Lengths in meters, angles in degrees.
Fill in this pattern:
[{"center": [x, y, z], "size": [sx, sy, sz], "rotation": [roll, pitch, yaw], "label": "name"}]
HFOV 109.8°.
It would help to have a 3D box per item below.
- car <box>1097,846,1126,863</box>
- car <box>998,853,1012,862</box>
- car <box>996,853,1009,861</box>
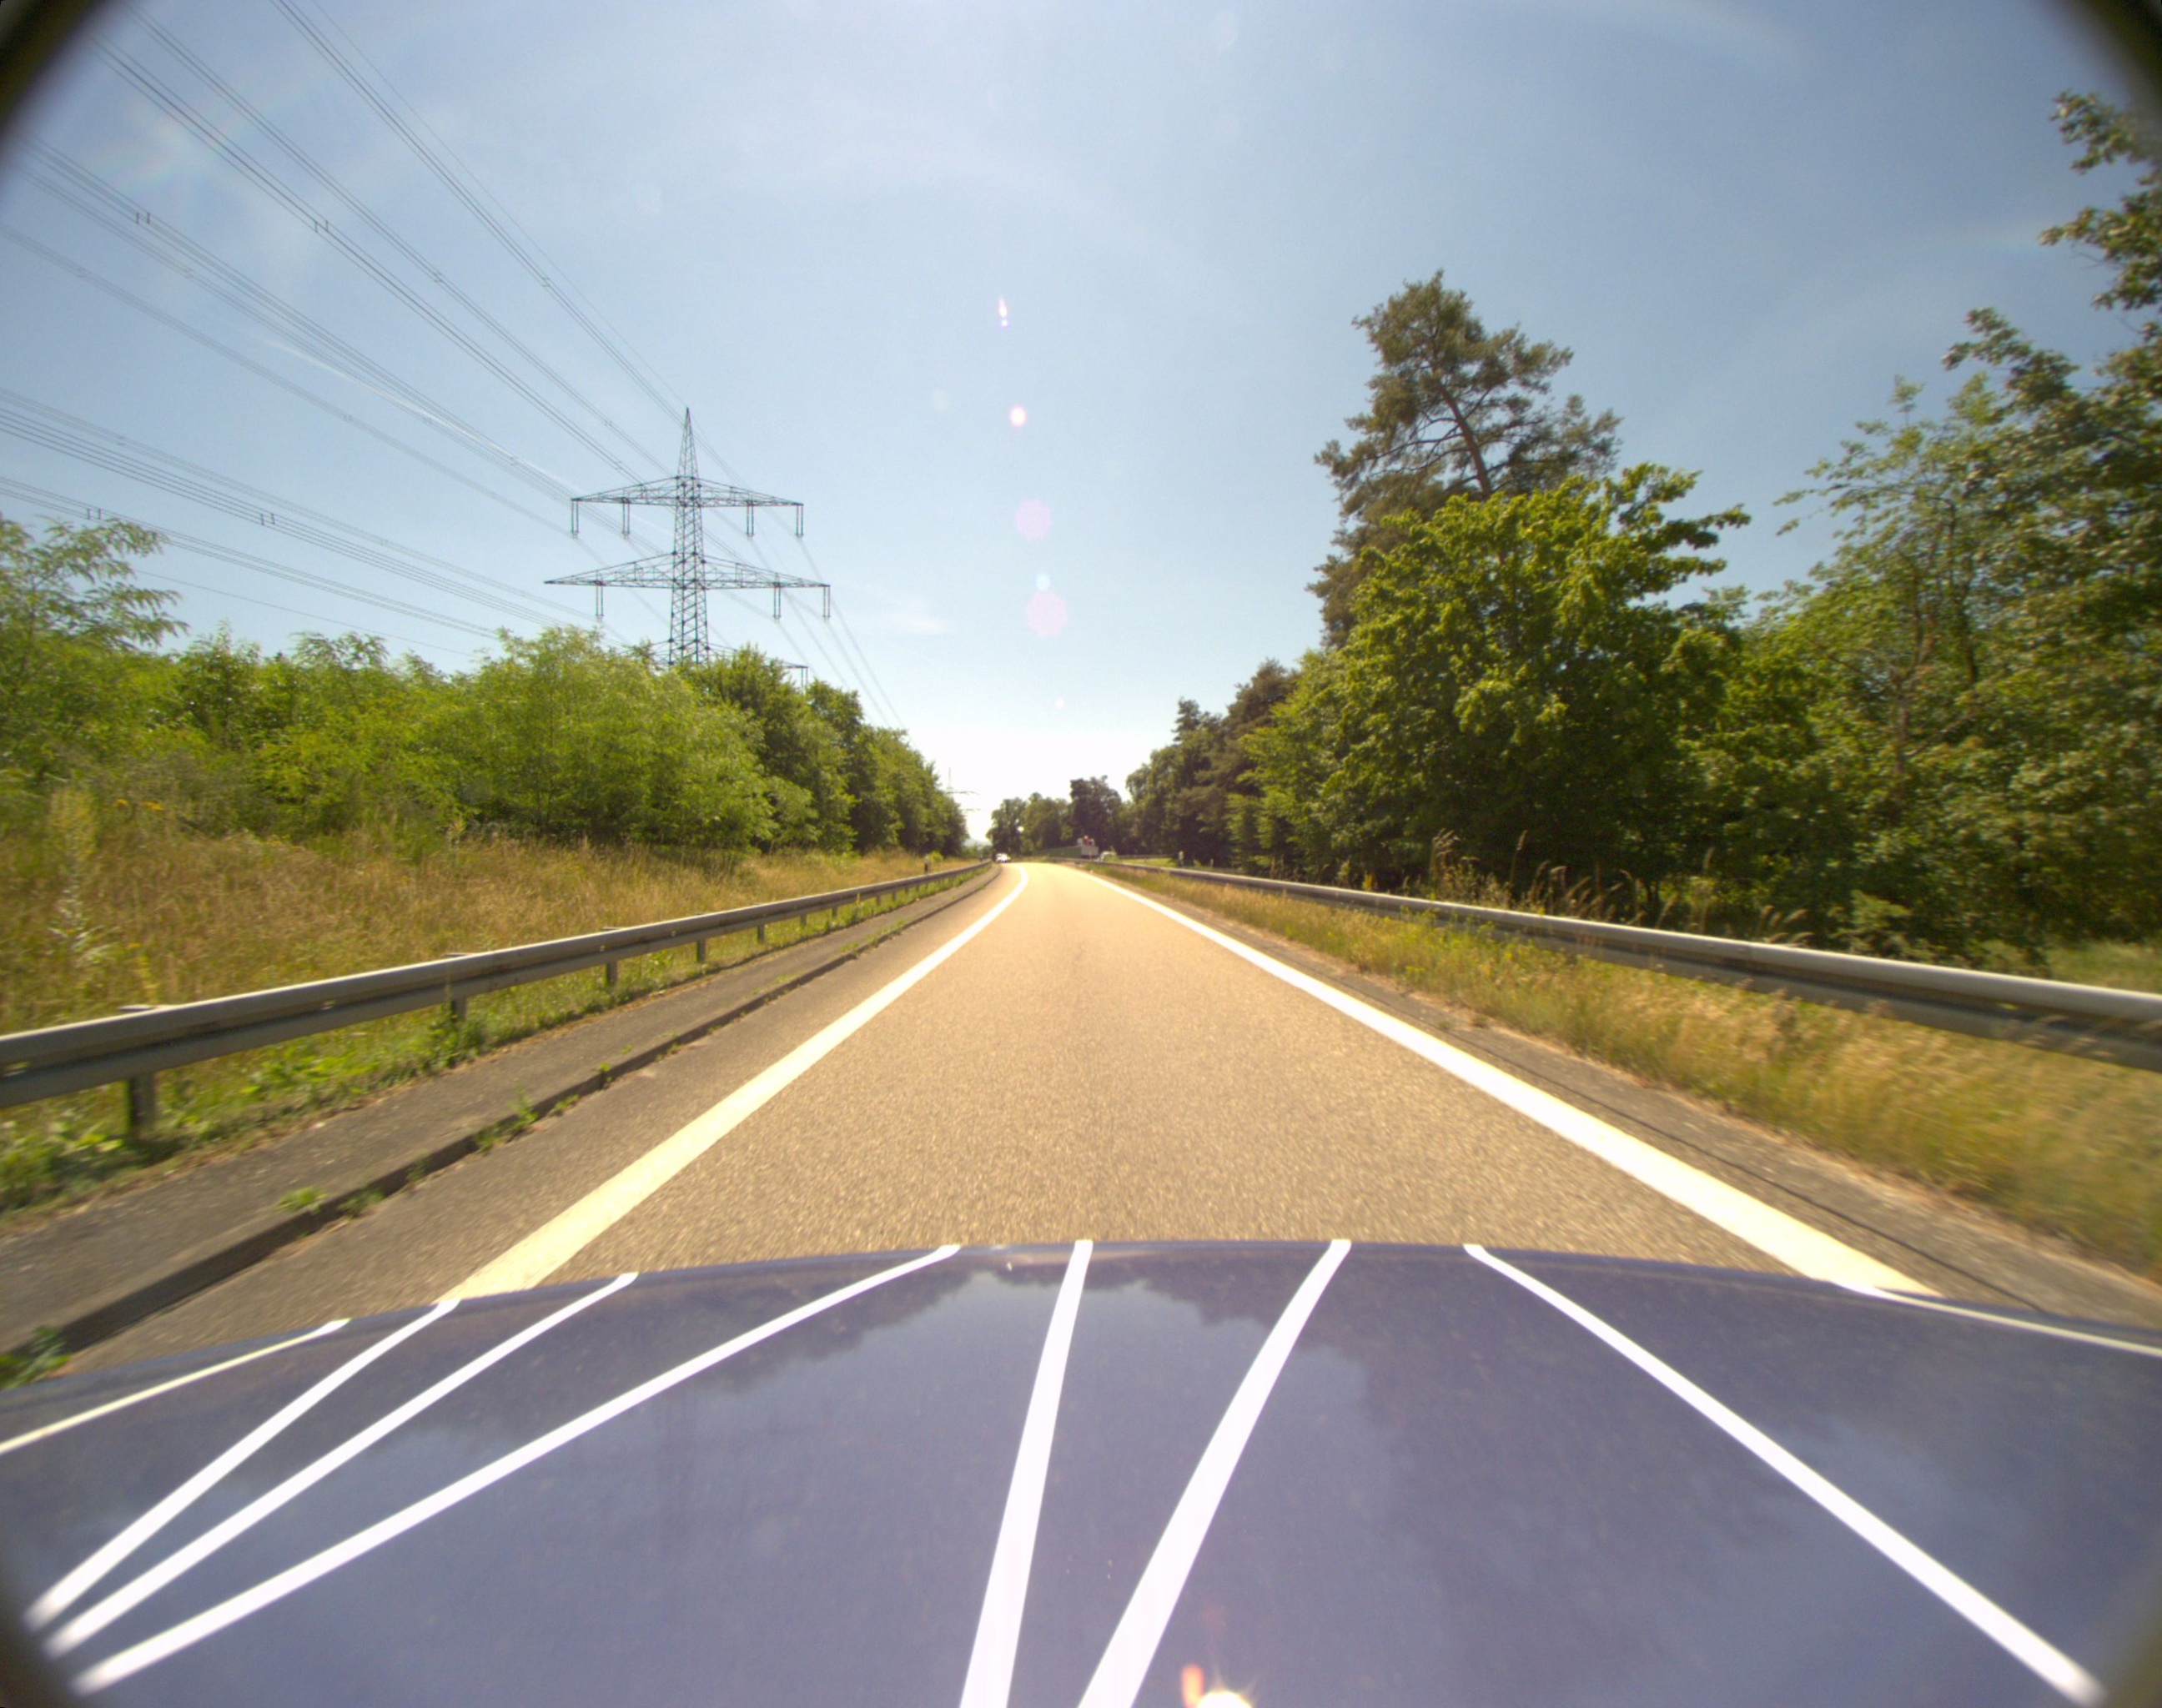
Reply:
[{"center": [3.000, 0.033, 75.316], "size": [2.000, 1.631, 5.267], "rotation": [1, 0, -7], "label": "car"}, {"center": [-14.296, 0.713, 143.199], "size": [2.001, 1.674, 3.995], "rotation": [-2, 0, -14], "label": "car"}, {"center": [-16.583, 0.683, 160.269], "size": [2.001, 1.674, 3.995], "rotation": [-2, 0, -14], "label": "car"}]
